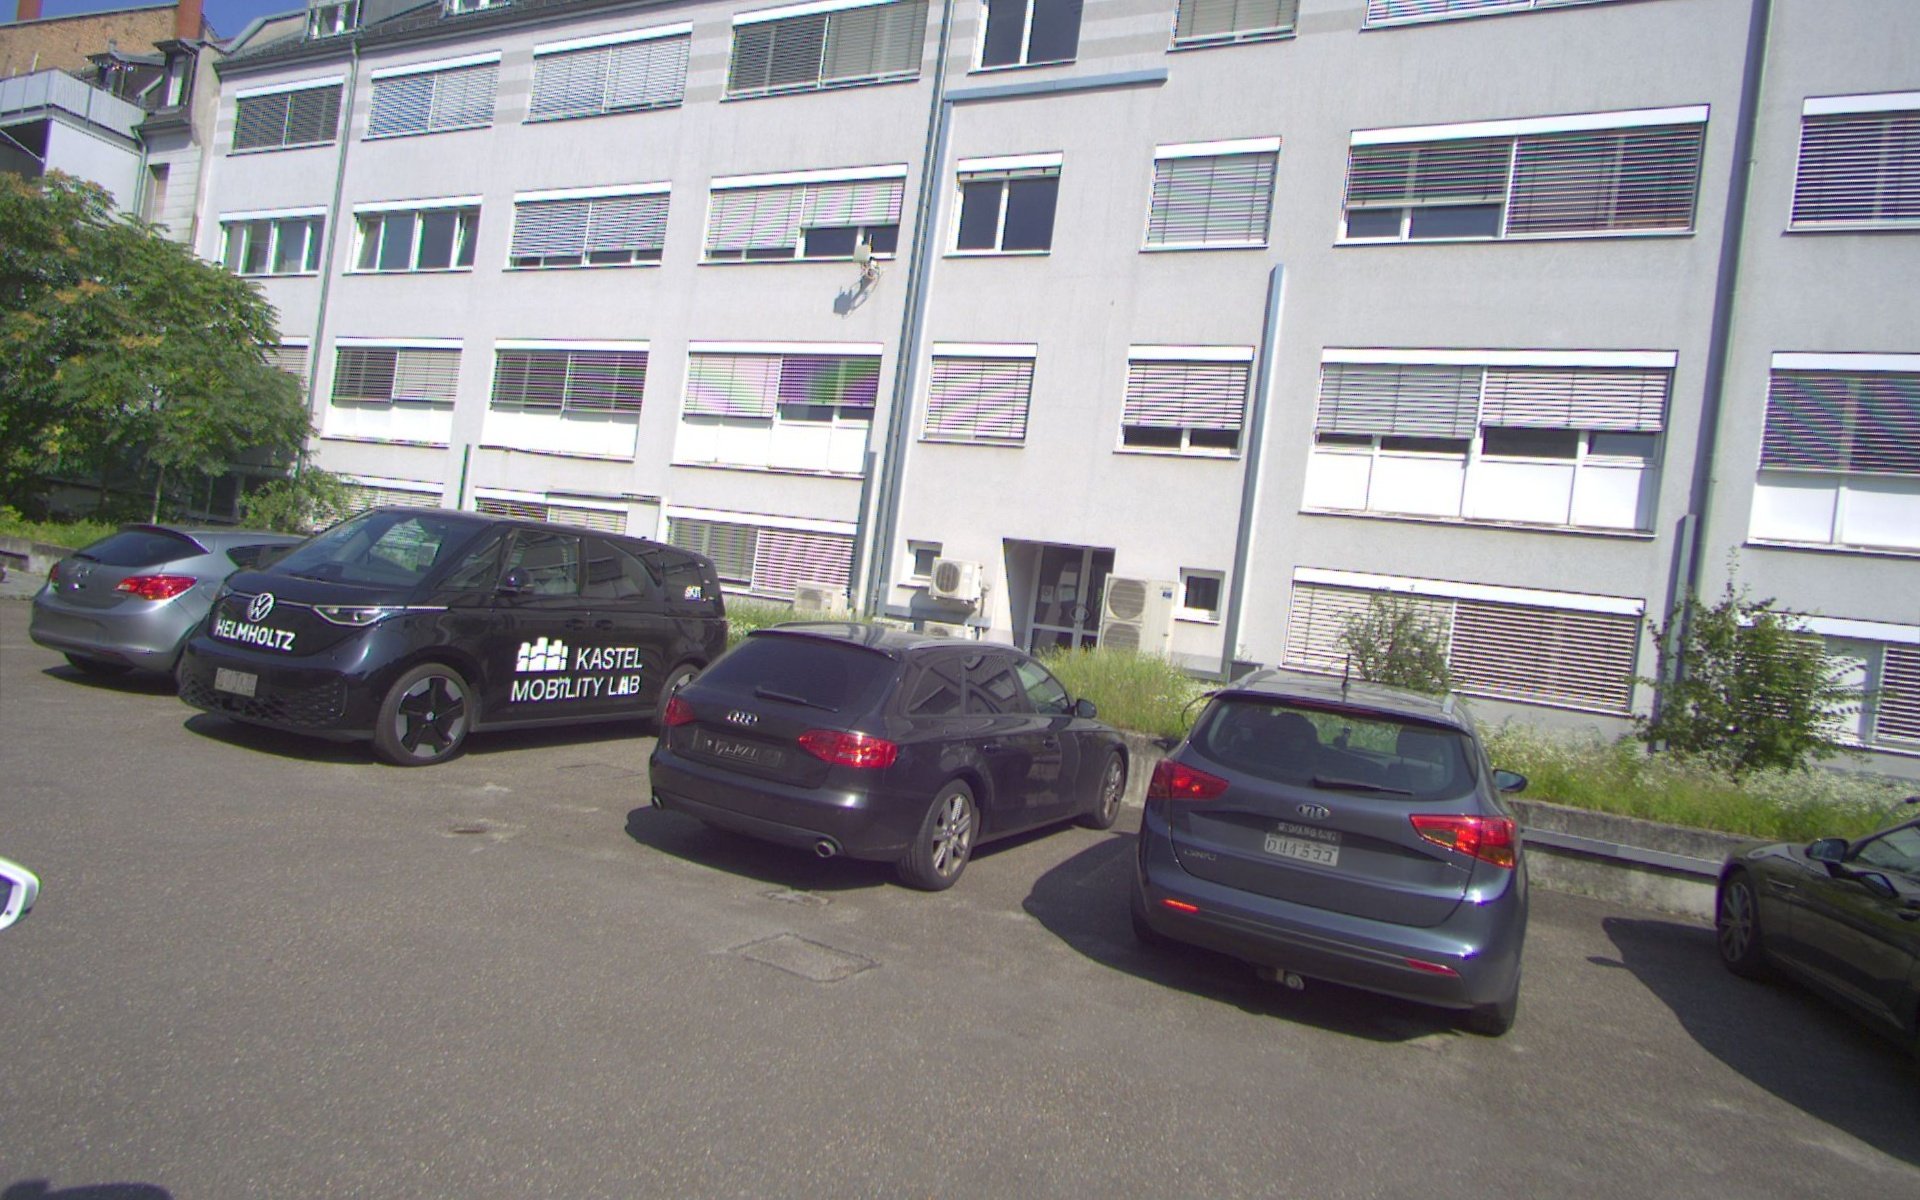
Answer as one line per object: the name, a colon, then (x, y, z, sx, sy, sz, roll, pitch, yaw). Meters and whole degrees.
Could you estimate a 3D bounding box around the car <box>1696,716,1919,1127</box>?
car: (5.148, 1.515, 4.525, 1.862, 1.607, 3.814, 7, -2, 21)

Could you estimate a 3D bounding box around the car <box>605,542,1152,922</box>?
car: (-0.182, 0.802, 7.064, 1.740, 1.711, 4.129, 7, -2, 28)

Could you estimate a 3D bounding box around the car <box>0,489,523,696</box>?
car: (-6.555, 0.045, 9.900, 1.742, 1.499, 3.946, 6, -1, 21)

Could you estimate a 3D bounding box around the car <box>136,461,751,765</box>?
car: (-3.947, 0.188, 8.735, 1.848, 1.815, 4.516, 6, -1, 21)

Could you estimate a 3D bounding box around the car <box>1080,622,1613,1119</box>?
car: (2.270, 1.166, 5.810, 1.846, 1.607, 3.875, 7, -2, 25)

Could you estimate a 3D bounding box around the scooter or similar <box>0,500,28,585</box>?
scooter or similar: (-15.183, -0.954, 15.392, 1.324, 1.276, 0.379, 7, 0, -2)
